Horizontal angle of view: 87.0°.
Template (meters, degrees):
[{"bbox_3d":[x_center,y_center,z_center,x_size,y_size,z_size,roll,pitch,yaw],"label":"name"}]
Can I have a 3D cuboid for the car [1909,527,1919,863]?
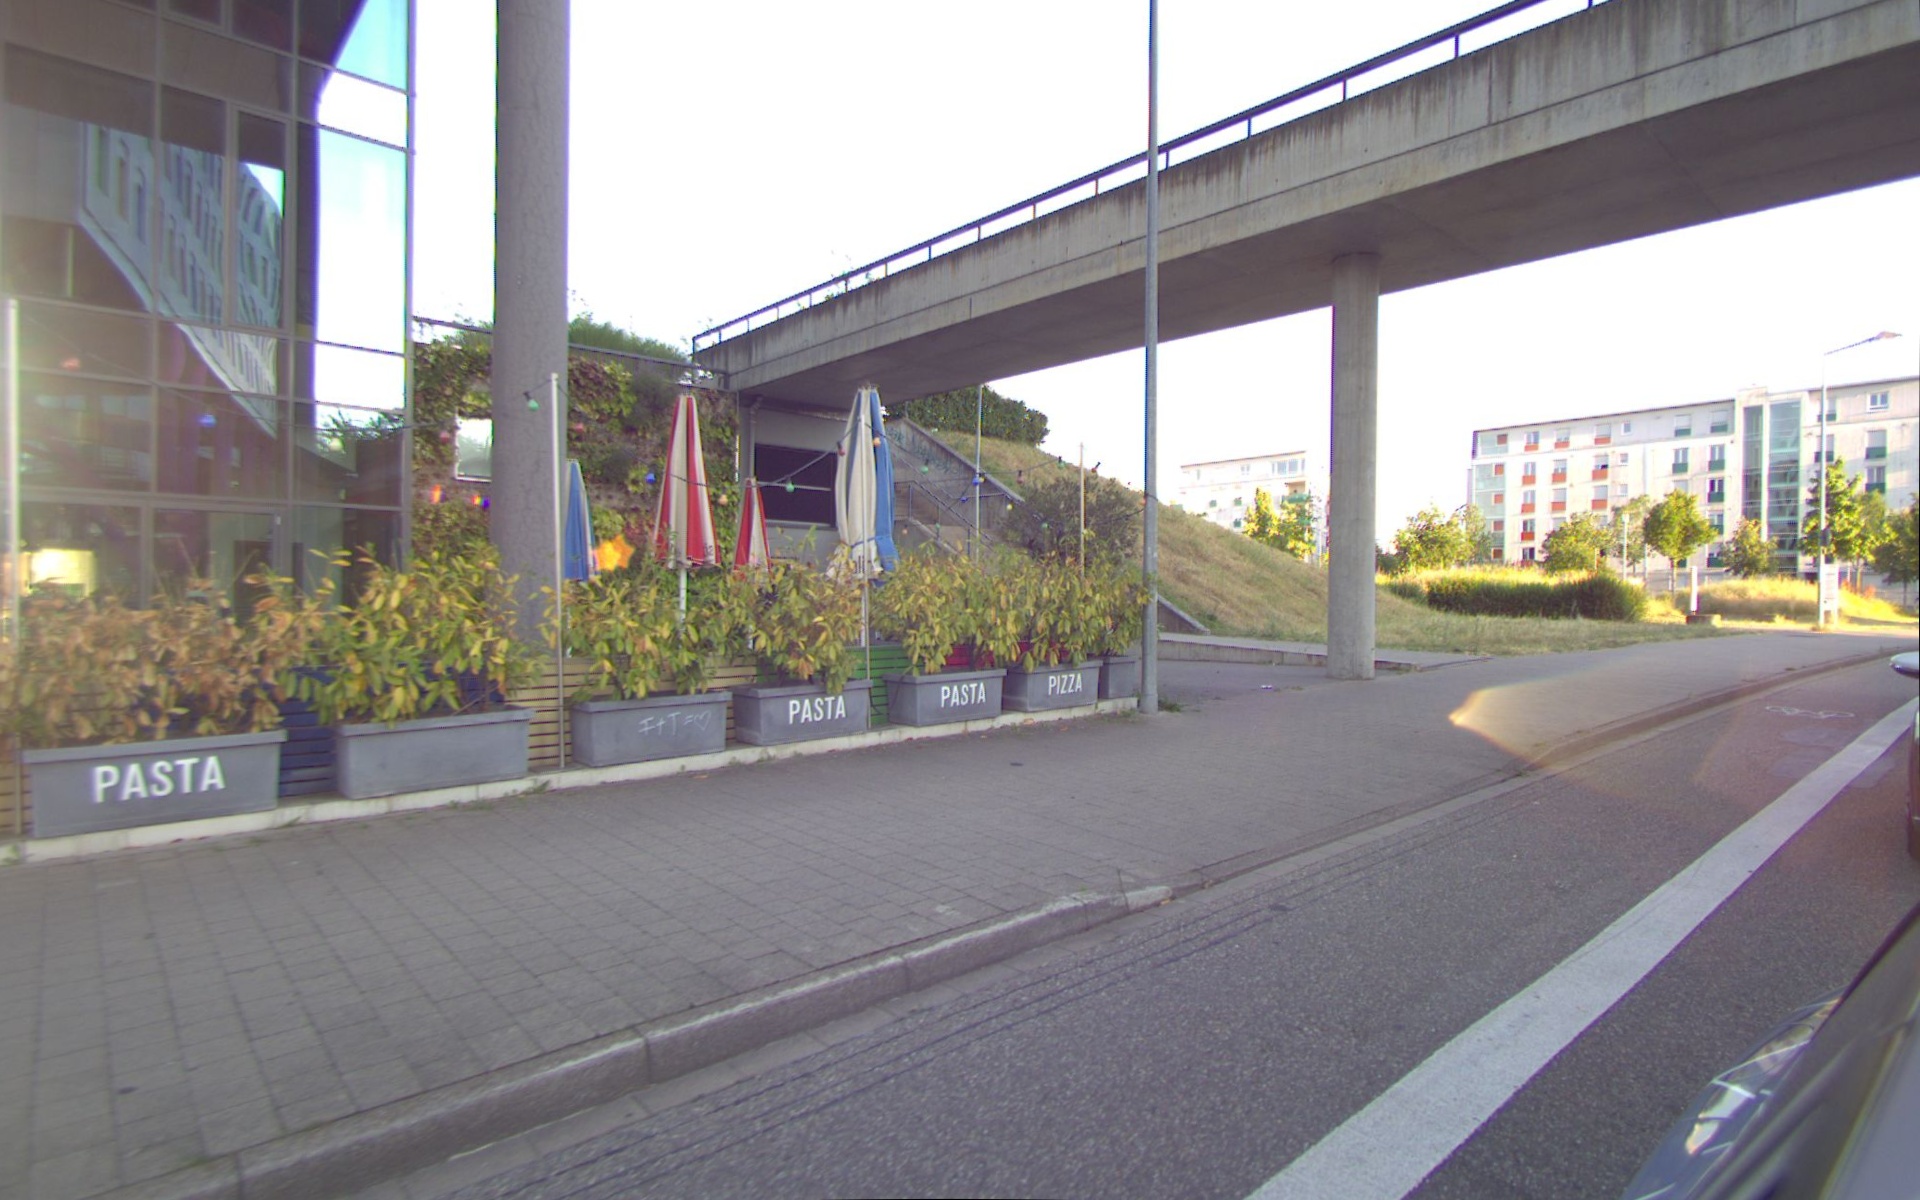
[{"bbox_3d":[6.519,0.447,5.483,4.003,1.571,1.757,0,1,-43],"label":"car"}]
